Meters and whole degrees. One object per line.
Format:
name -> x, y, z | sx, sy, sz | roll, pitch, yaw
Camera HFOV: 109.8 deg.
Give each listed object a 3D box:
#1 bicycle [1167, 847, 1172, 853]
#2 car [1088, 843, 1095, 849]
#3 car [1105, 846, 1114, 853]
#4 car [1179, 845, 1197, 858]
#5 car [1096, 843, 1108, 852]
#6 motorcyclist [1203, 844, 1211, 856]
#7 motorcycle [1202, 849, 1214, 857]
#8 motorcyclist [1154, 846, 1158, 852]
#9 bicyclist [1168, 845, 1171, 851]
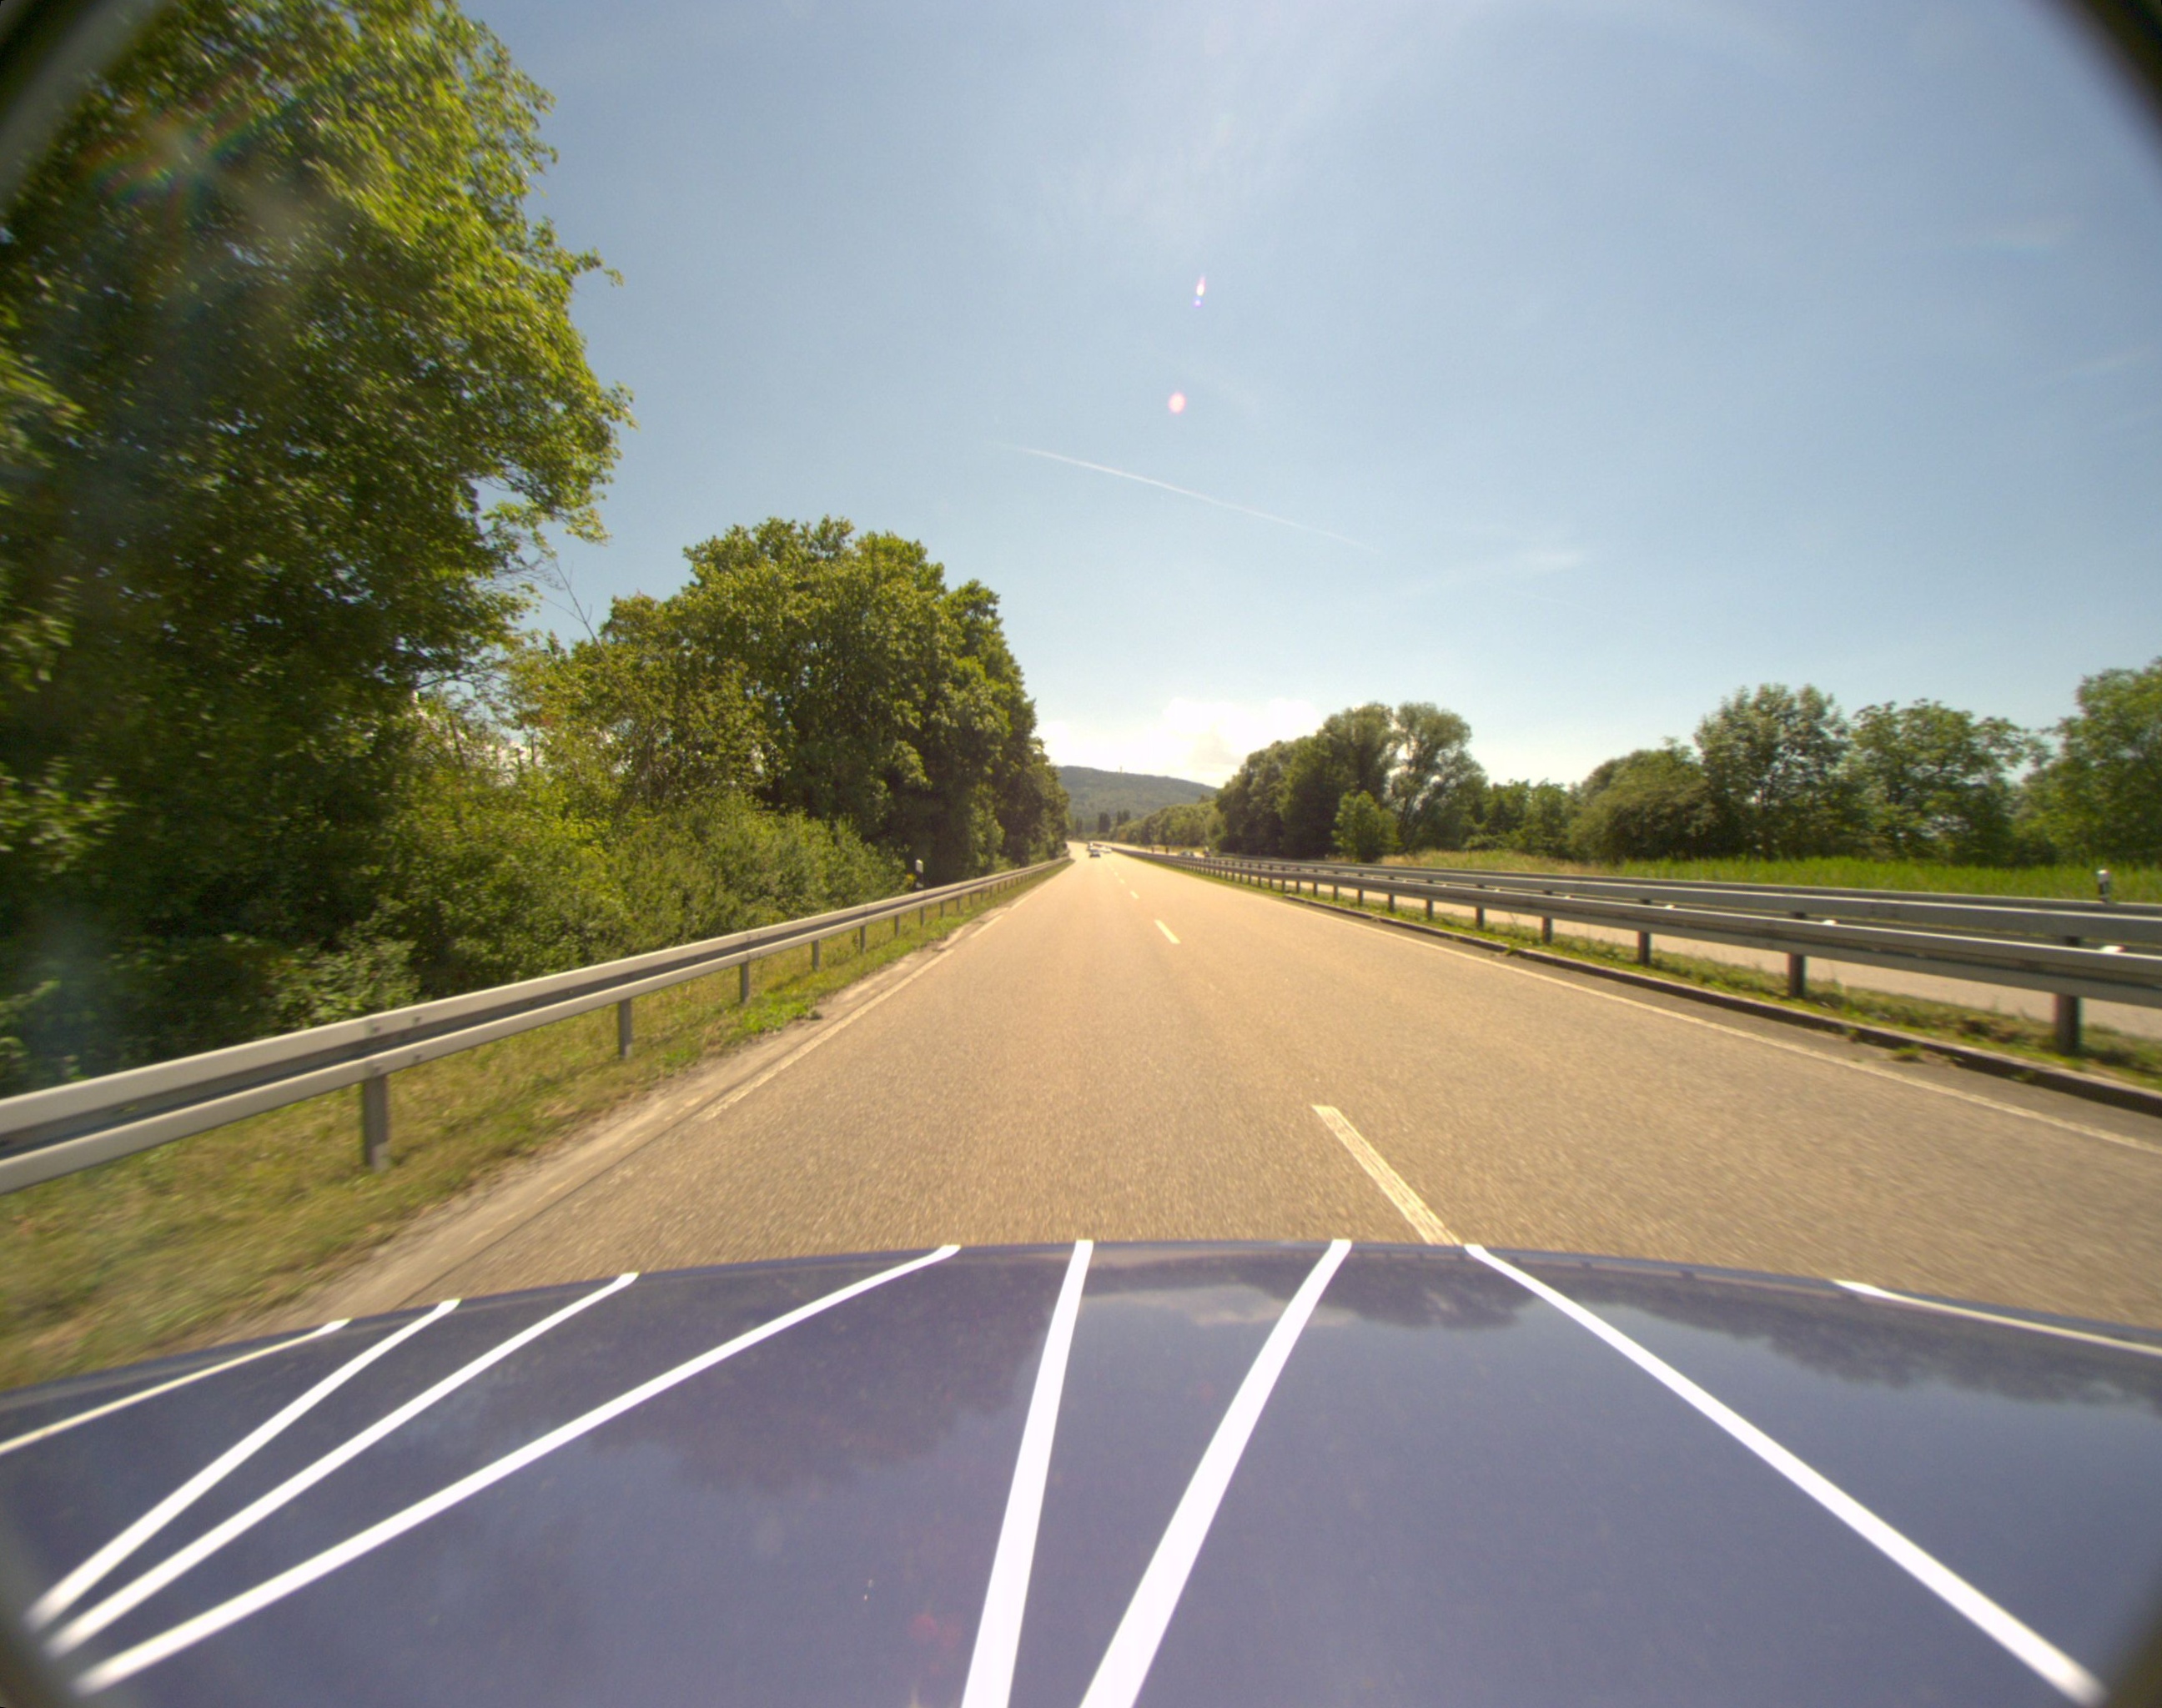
bicycle -> 17.754, -0.836, 152.646 | 0.615, 1.151, 2.280 | -1, 1, 1
car -> 3.214, -2.479, 227.189 | 1.908, 1.687, 3.891 | -1, 2, 3
car -> 6.931, -1.113, 185.079 | 1.908, 1.687, 3.891 | -1, 2, 3
car -> 11.879, -0.304, 84.498 | 1.632, 1.324, 3.535 | -1, 1, 1
car -> 3.594, -1.140, 128.503 | 1.908, 1.368, 3.891 | -1, 2, 3
motorcyclist -> 16.916, -0.541, 101.956 | 0.947, 1.608, 0.809 | 0, 1, 0
motorcycle -> 16.974, -0.112, 101.769 | 1.066, 1.058, 3.818 | 0, 1, 1
motorcyclist -> 17.071, -1.099, 172.387 | 0.720, 1.474, 0.809 | -1, 1, 2
bicyclist -> 17.729, -1.256, 152.620 | 0.615, 1.270, 0.608 | -1, 1, 1
